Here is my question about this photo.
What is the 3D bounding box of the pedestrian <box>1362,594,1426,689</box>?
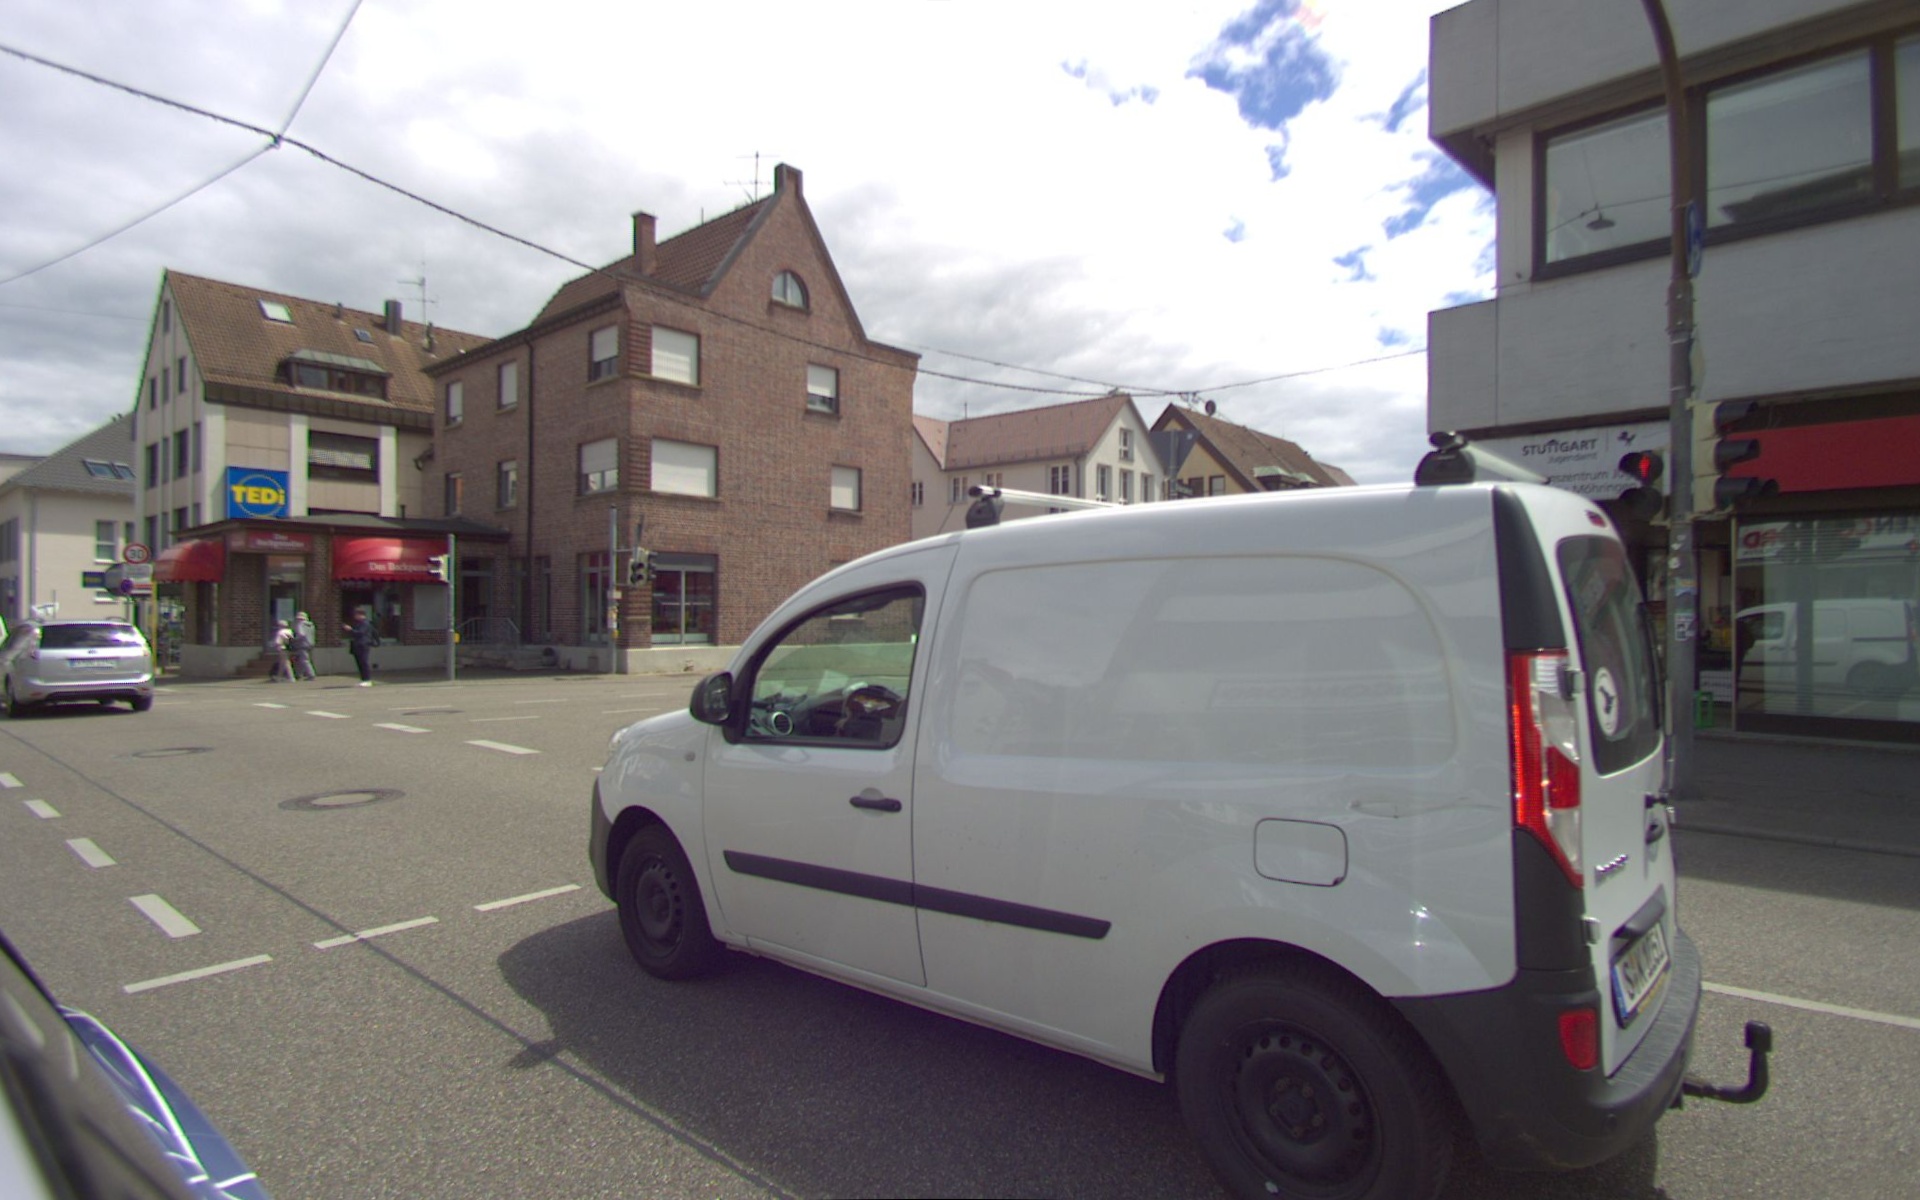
[{"bbox_3d":[7.999,0.762,18.684,0.768,1.706,0.819,0,-2,-2],"label":"pedestrian"}]

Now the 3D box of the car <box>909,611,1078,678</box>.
[{"bbox_3d":[1.076,1.274,29.516,2.000,1.782,5.185,-3,-3,43],"label":"car"}]

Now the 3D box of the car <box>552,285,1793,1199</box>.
[{"bbox_3d":[0.363,0.498,3.731,4.110,1.945,1.795,-2,-3,41],"label":"car"}]

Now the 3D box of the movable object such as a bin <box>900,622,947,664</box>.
[{"bbox_3d":[-1.481,1.719,40.861,1.145,1.637,1.499,-1,0,44],"label":"movable object such as a bin"}]

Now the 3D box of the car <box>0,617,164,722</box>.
[{"bbox_3d":[-14.532,1.053,16.377,3.966,1.499,1.735,-1,-2,39],"label":"car"}]

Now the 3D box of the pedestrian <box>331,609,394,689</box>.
[{"bbox_3d":[-13.385,1.090,22.696,0.839,1.736,0.907,0,-2,-1],"label":"pedestrian"}]

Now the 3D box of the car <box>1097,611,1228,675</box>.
[{"bbox_3d":[6.137,1.272,30.397,1.999,1.768,4.292,-2,-3,41],"label":"car"}]

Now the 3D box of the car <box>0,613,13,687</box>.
[{"bbox_3d":[-28.449,1.376,28.463,5.023,2.012,1.957,-1,-2,39],"label":"car"}]

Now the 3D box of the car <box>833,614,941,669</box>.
[{"bbox_3d":[-2.680,1.496,36.734,3.700,1.877,1.845,-2,-2,41],"label":"car"}]

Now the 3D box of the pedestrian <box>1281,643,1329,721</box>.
[{"bbox_3d":[4.982,1.172,14.637,0.555,1.065,0.660,-1,-1,12],"label":"pedestrian"}]

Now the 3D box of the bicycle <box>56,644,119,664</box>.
[{"bbox_3d":[-35.190,2.159,40.843,0.655,0.734,2.288,0,-2,-3],"label":"bicycle"}]

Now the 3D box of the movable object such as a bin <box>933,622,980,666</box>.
[{"bbox_3d":[-0.141,1.701,39.848,1.145,1.637,1.499,-1,0,44],"label":"movable object such as a bin"}]

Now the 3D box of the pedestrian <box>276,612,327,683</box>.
[{"bbox_3d":[-16.265,1.167,25.004,0.872,1.729,0.679,-1,-2,23],"label":"pedestrian"}]

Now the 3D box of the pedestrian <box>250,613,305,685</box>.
[{"bbox_3d":[-16.446,1.169,24.398,0.790,1.708,0.773,-1,-2,23],"label":"pedestrian"}]

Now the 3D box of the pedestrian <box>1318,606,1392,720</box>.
[{"bbox_3d":[5.649,0.883,14.516,0.813,1.566,0.842,-1,-1,12],"label":"pedestrian"}]

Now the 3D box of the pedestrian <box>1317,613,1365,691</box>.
[{"bbox_3d":[8.040,1.085,21.400,0.771,1.613,0.817,0,-2,9],"label":"pedestrian"}]
